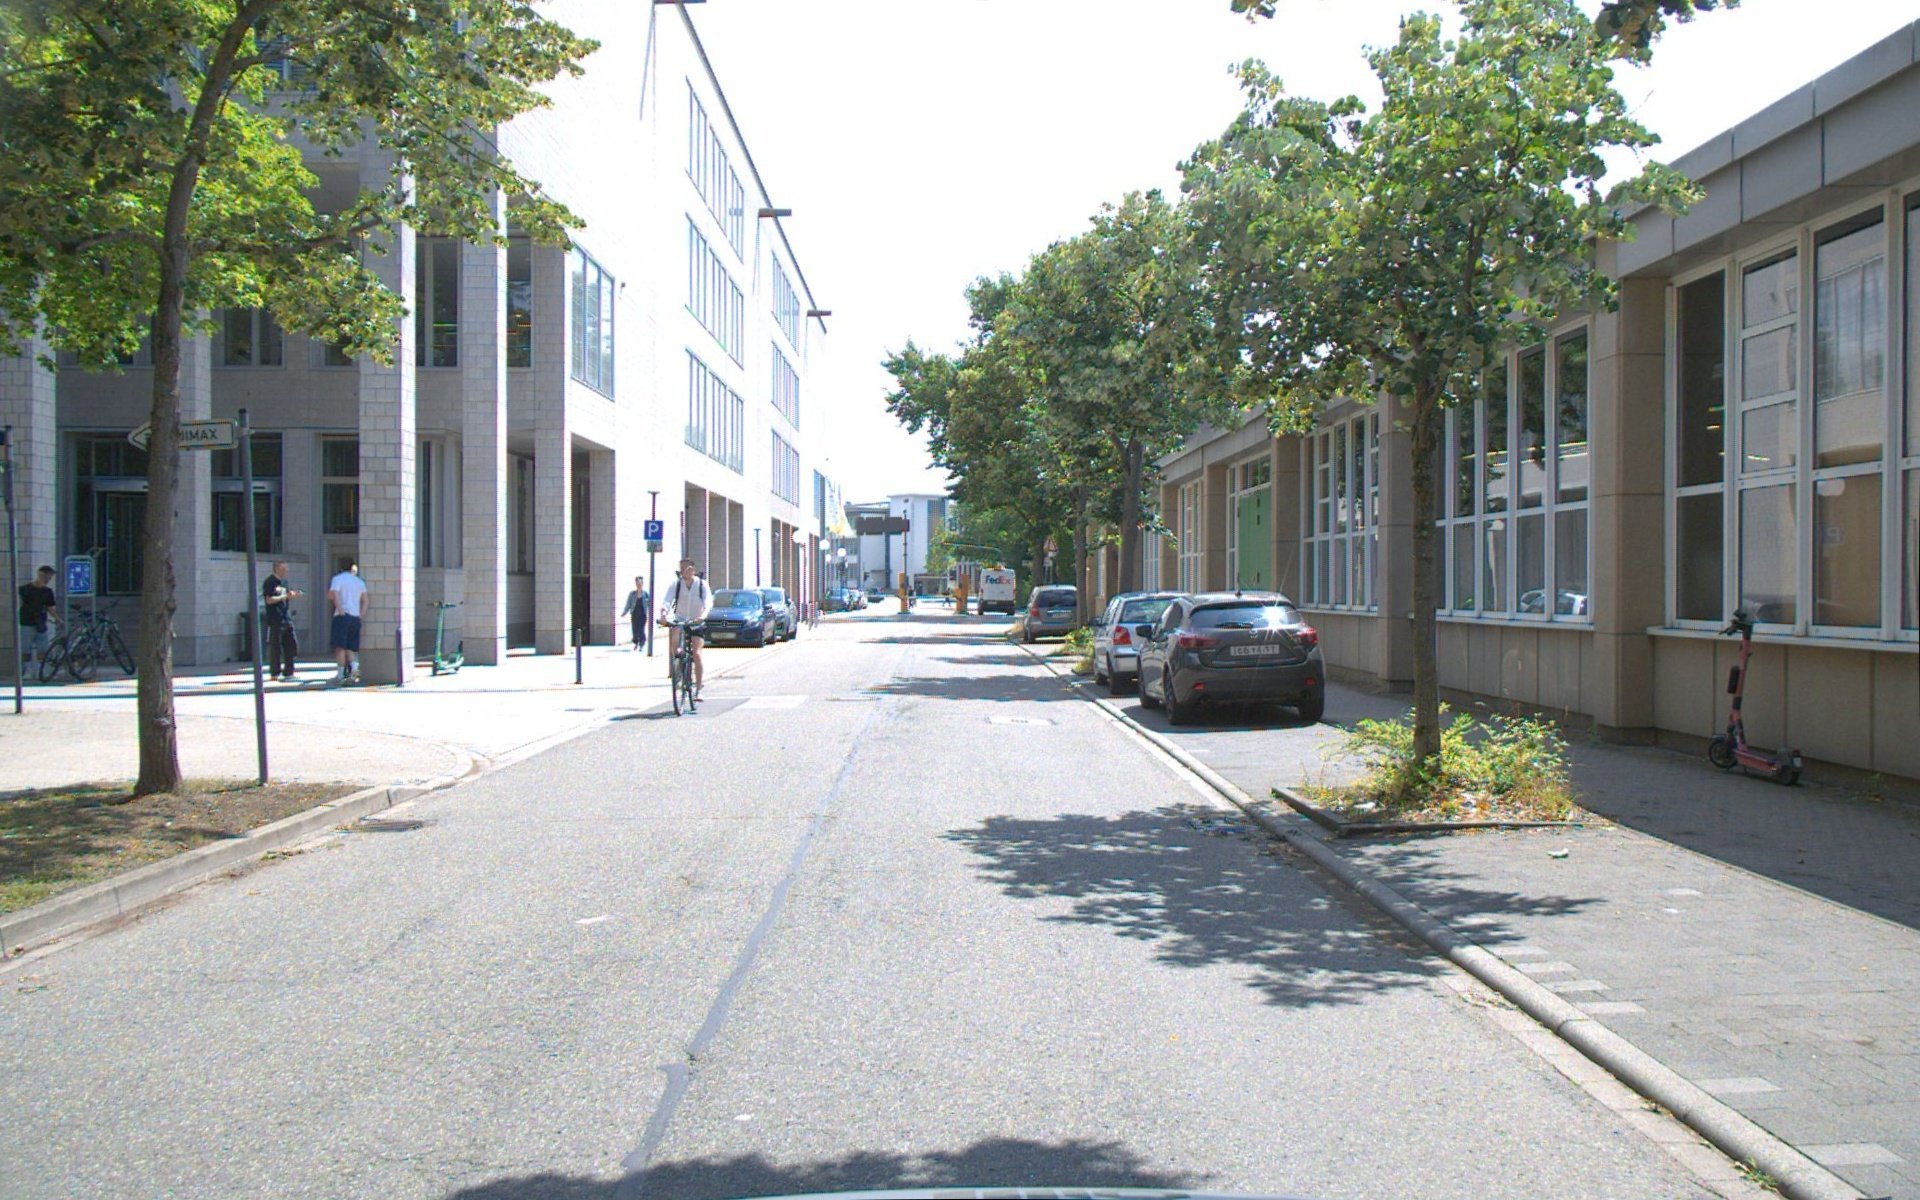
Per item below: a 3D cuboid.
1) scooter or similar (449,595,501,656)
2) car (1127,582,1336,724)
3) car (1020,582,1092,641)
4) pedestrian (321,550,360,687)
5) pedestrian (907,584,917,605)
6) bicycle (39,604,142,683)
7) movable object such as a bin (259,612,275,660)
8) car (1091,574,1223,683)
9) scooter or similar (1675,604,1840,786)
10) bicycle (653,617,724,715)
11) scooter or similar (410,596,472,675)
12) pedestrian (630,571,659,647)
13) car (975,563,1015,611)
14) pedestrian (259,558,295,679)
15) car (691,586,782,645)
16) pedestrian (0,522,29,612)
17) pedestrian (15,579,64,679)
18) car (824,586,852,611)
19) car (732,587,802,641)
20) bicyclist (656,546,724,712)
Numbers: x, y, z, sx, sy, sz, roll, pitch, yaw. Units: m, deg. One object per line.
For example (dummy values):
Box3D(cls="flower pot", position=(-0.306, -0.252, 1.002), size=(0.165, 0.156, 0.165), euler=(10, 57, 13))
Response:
Box3D(cls="scooter or similar", position=(-10.099, 0.517, 34.427), size=(0.521, 1.231, 1.537), euler=(0, 0, -38))
Box3D(cls="car", position=(3.176, 0.559, 20.195), size=(1.744, 1.502, 4.461), euler=(-1, 0, -1))
Box3D(cls="car", position=(2.739, 0.304, 47.963), size=(1.820, 1.601, 4.000), euler=(-1, 0, 0))
Box3D(cls="pedestrian", position=(-9.101, 0.263, 24.282), size=(0.408, 1.975, 0.656), euler=(1, 0, -30))
Box3D(cls="pedestrian", position=(-3.931, -0.435, 134.788), size=(0.761, 1.708, 0.504), euler=(1, 0, 0))
Box3D(cls="bicycle", position=(-12.799, 0.622, 24.399), size=(0.455, 1.032, 1.866), euler=(1, 2, 3))
Box3D(cls="movable object such as a bin", position=(-13.349, 0.688, 31.863), size=(0.165, 0.910, 0.448), euler=(0, 0, -6))
Box3D(cls="car", position=(2.983, 0.397, 25.676), size=(1.583, 1.565, 3.779), euler=(0, 0, 0))
Box3D(cls="scooter or similar", position=(6.009, 0.678, 12.541), size=(0.500, 1.271, 1.485), euler=(-1, 0, 0))
Box3D(cls="bicycle", position=(-3.440, 0.811, 21.098), size=(0.671, 1.149, 1.887), euler=(0, 0, -3))
Box3D(cls="scooter or similar", position=(-8.449, 0.563, 26.982), size=(0.445, 1.245, 1.549), euler=(0, 0, 3))
Box3D(cls="pedestrian", position=(-7.341, 0.207, 38.447), size=(0.638, 1.731, 0.887), euler=(0, 0, -11))
Box3D(cls="car", position=(1.929, -0.716, 92.758), size=(2.041, 2.584, 4.315), euler=(1, 0, -1))
Box3D(cls="pedestrian", position=(-10.289, 0.273, 24.911), size=(0.436, 1.806, 0.446), euler=(0, 0, -31))
Box3D(cls="car", position=(-5.799, 0.397, 43.337), size=(1.730, 1.452, 4.235), euler=(0, 0, 1))
Box3D(cls="pedestrian", position=(-18.134, -0.624, 31.553), size=(0.626, 1.690, 0.687), euler=(0, 0, -31))
Box3D(cls="pedestrian", position=(-13.424, 0.416, 24.138), size=(0.457, 1.407, 0.443), euler=(-1, 3, -10))
Box3D(cls="car", position=(-7.997, -0.099, 108.814), size=(1.612, 1.524, 3.727), euler=(0, -2, -1))
Box3D(cls="car", position=(-5.661, 0.403, 48.853), size=(1.597, 1.511, 4.177), euler=(0, 0, 0))
Box3D(cls="bicyclist", position=(-3.434, 0.360, 21.091), size=(0.697, 2.049, 1.018), euler=(-1, 0, -3))
